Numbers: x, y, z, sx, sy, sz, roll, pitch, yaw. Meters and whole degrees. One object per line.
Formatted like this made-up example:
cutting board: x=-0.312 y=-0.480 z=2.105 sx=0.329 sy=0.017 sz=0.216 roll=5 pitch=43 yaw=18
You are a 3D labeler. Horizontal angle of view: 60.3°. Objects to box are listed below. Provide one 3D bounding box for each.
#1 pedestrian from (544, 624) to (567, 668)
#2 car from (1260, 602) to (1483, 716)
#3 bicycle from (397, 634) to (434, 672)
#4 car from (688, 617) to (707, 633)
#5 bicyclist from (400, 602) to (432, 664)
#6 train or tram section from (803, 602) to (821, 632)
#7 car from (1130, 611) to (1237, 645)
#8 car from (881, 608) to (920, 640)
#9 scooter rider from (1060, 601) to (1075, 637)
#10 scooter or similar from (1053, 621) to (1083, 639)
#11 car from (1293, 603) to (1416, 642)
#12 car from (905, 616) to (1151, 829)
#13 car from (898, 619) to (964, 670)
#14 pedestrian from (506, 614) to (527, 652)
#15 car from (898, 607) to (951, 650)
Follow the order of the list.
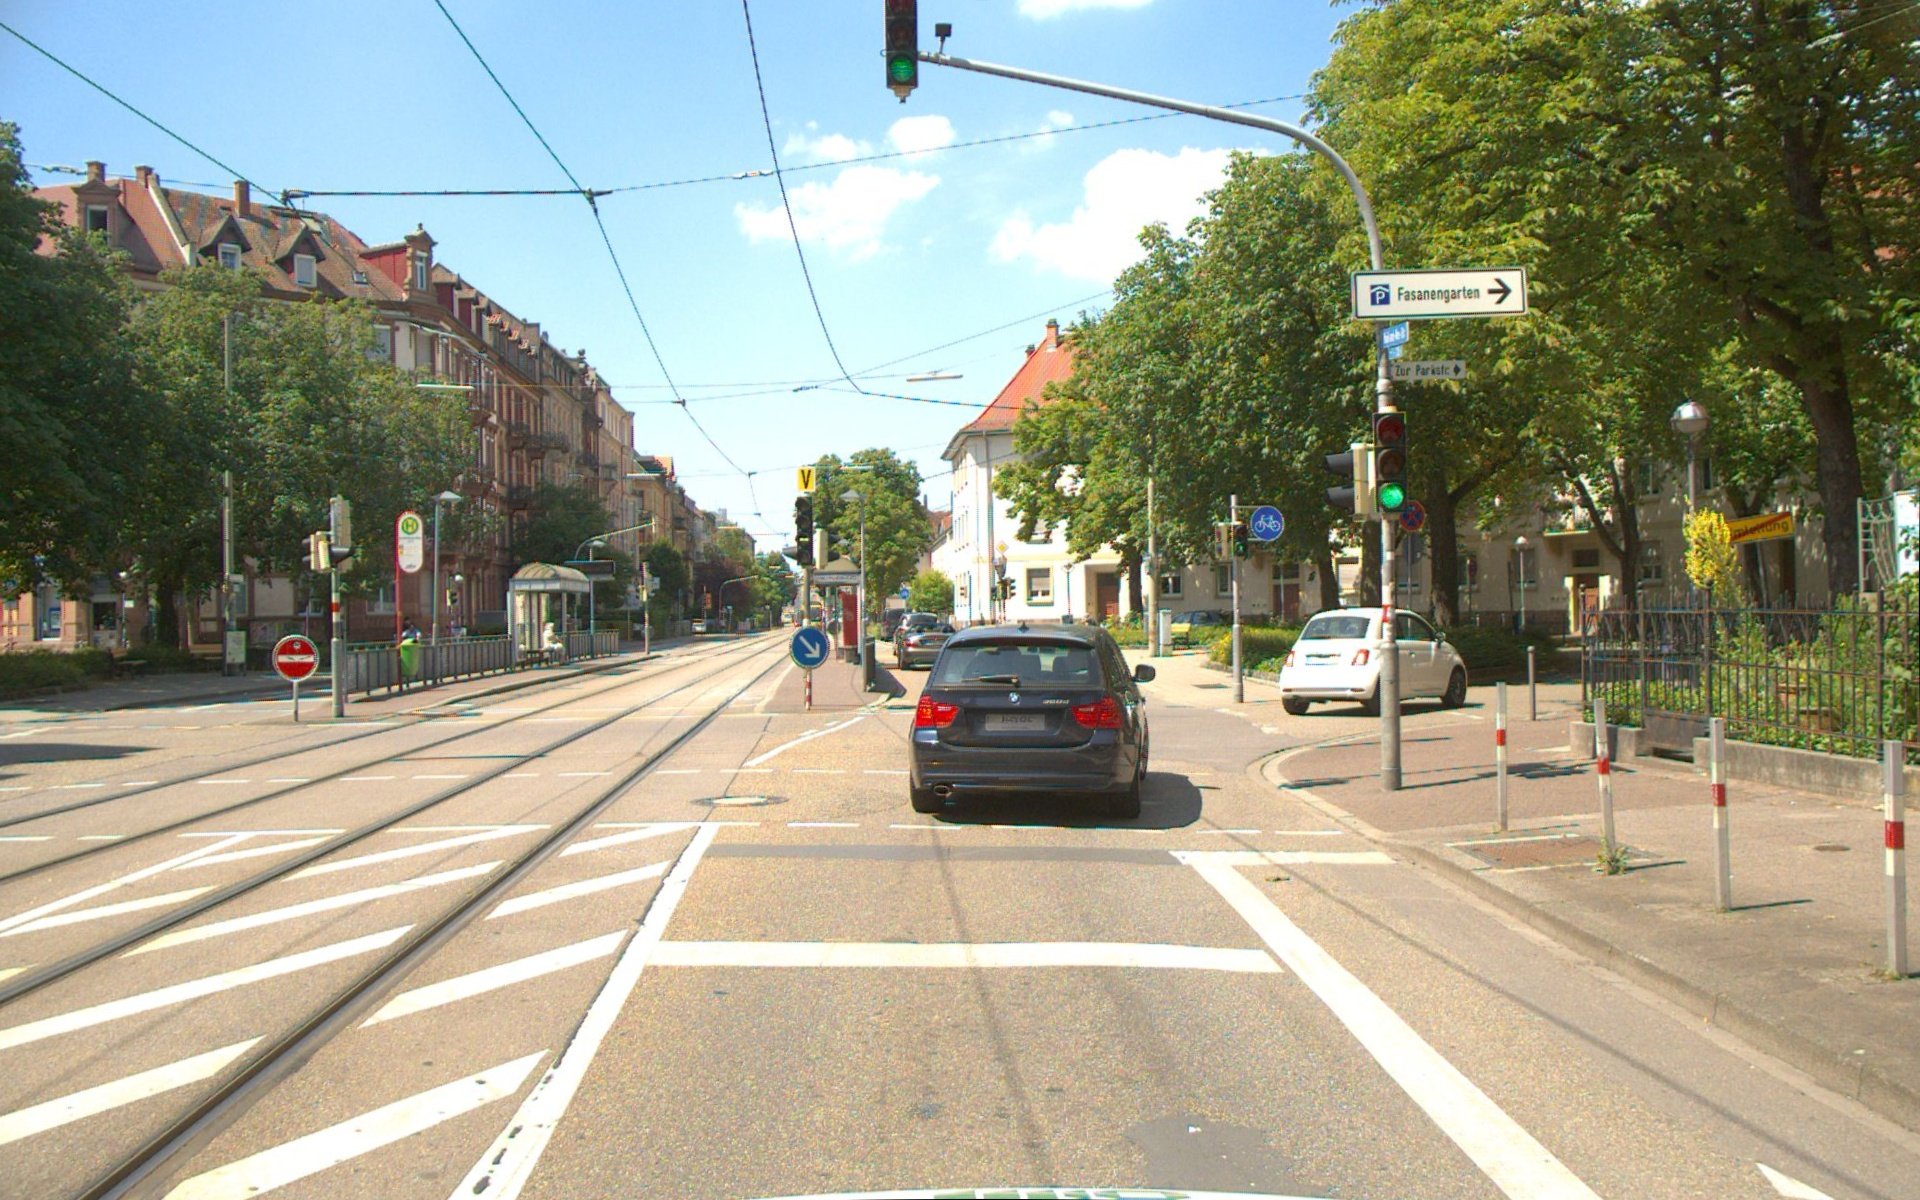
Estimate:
pedestrian: x=-11.873 y=1.350 z=48.527 sx=0.602 sy=1.264 sz=0.626 roll=-1 pitch=-1 yaw=-10
car: x=6.168 y=0.825 z=24.580 sx=1.661 sy=1.510 sz=3.661 roll=-2 pitch=-1 yaw=42
bicycle: x=-16.947 y=1.635 z=51.513 sx=0.715 sy=1.121 sz=1.713 roll=-1 pitch=-1 yaw=-6
car: x=-27.345 y=2.635 z=172.202 sx=1.756 sy=1.614 sz=3.987 roll=0 pitch=-1 yaw=-13
bicyclist: x=-16.920 y=1.021 z=51.442 sx=0.708 sy=1.903 sz=0.825 roll=-1 pitch=-1 yaw=-4
train or tram section: x=-18.092 y=2.058 z=202.487 sx=2.147 sy=3.543 sz=8.836 roll=-1 pitch=0 yaw=-5
car: x=8.933 y=1.126 z=66.206 sx=3.913 sy=1.265 sz=1.620 roll=-2 pitch=-1 yaw=31
car: x=-3.583 y=1.432 z=99.067 sx=1.956 sy=1.881 sz=3.993 roll=-1 pitch=-1 yaw=-8
scooter rider: x=5.088 y=0.902 z=78.278 sx=0.579 sy=1.716 sz=0.527 roll=-1 pitch=-1 yaw=-10
scooter or similar: x=5.109 y=1.415 z=78.264 sx=1.288 sy=0.852 sz=0.525 roll=-1 pitch=-1 yaw=-10
car: x=14.476 y=0.839 z=60.938 sx=1.773 sy=1.351 sz=4.283 roll=-1 pitch=-1 yaw=-36
car: x=0.723 y=0.862 z=13.716 sx=1.686 sy=1.434 sz=4.568 roll=1 pitch=0 yaw=6
car: x=-0.844 y=1.216 z=46.180 sx=1.658 sy=1.346 sz=3.818 roll=-1 pitch=-1 yaw=-4
pedestrian: x=-21.696 y=1.595 z=80.885 sx=0.626 sy=1.843 sz=0.739 roll=-2 pitch=-1 yaw=27
car: x=-1.362 y=1.054 z=62.200 sx=1.658 sy=1.540 sz=3.816 roll=-1 pitch=-1 yaw=-6
